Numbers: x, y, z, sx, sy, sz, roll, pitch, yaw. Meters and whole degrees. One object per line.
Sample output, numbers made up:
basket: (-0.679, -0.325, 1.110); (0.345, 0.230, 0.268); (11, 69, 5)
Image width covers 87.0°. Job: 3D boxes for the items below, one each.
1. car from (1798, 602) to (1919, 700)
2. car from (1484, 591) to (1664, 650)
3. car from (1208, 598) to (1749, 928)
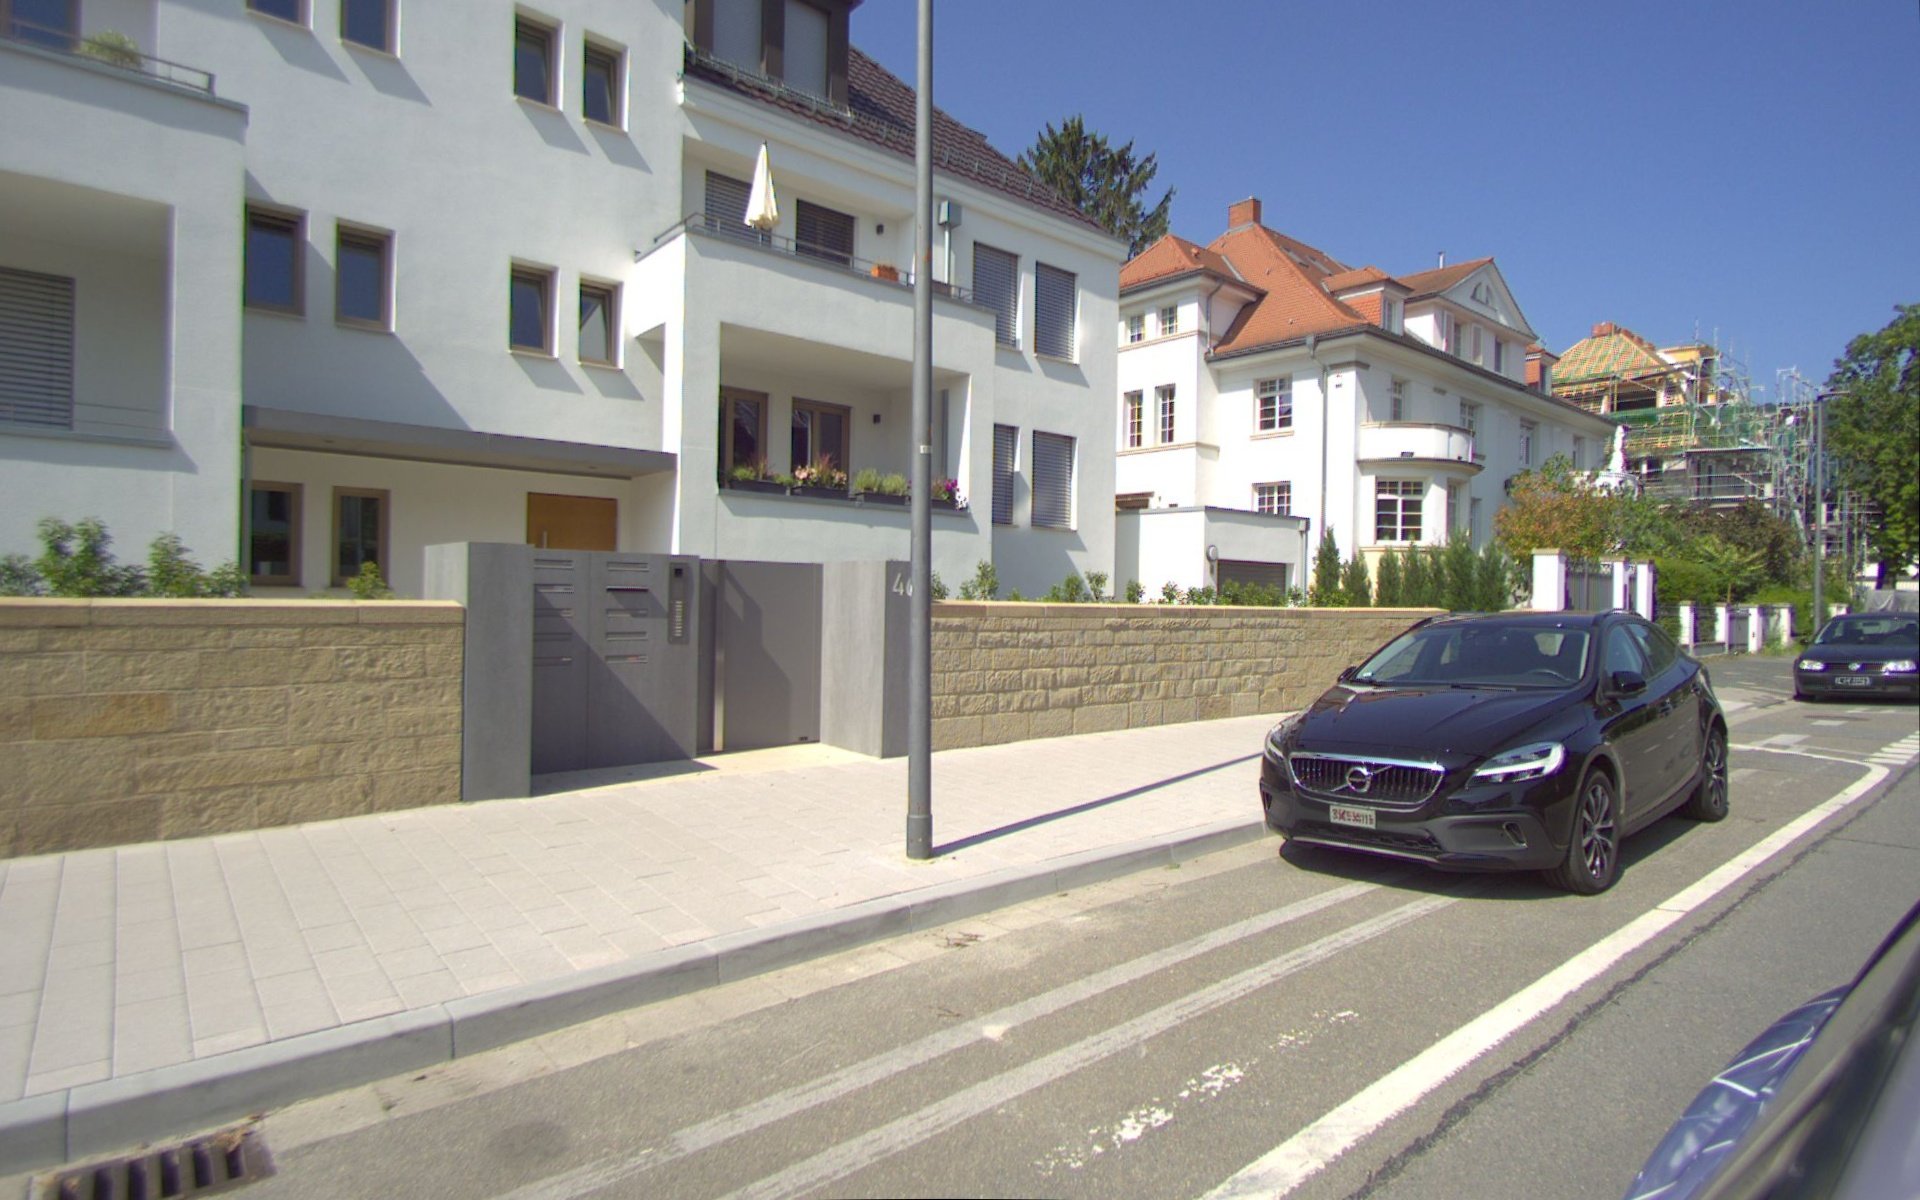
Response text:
car: (15.662, 0.794, 16.958); (3.926, 1.468, 1.623); (0, -2, -38)
car: (17.851, 0.595, 29.555); (1.673, 1.603, 4.167); (1, -2, -42)
car: (3.531, 0.751, 6.533); (4.096, 1.468, 1.724); (0, -2, -42)
